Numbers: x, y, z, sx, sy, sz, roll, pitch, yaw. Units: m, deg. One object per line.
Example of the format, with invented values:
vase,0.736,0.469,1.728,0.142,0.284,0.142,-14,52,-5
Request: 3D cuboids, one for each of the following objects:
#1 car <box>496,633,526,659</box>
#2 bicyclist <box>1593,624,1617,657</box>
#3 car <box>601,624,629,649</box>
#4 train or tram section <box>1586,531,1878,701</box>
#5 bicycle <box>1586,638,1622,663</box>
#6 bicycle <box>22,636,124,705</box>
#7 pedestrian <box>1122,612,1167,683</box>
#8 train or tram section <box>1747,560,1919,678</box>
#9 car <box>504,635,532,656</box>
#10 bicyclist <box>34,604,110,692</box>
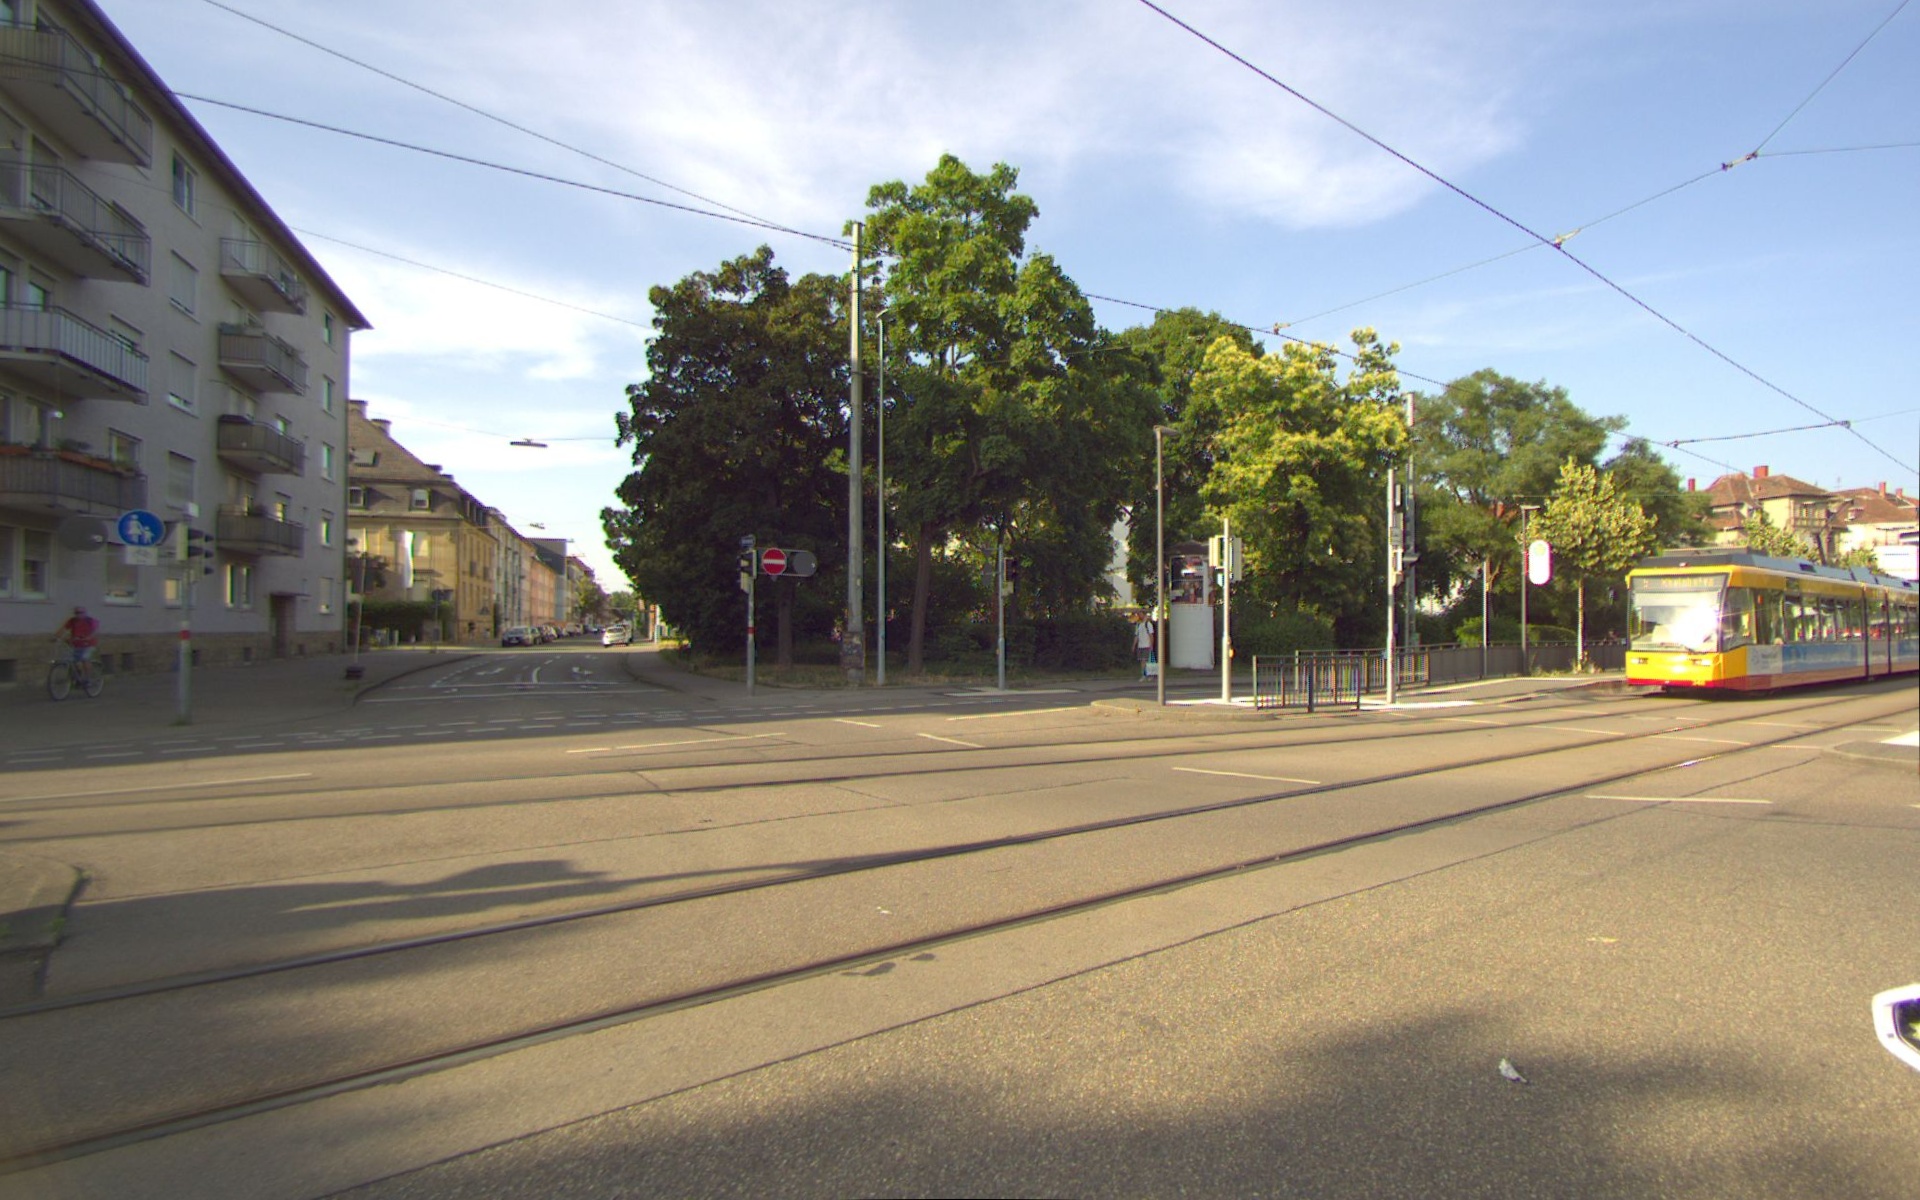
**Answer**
car,-32.955,3.324,73.681,1.973,1.748,3.975,1,-1,-25
bicyclist,27.967,1.754,43.570,0.710,1.432,0.646,1,0,-36
car,-25.922,2.724,75.547,1.969,1.748,3.984,1,-1,-18
train or tram section,21.020,0.448,26.694,14.413,3.526,3.135,1,-1,-40
bicycle,28.013,2.195,43.686,2.228,1.032,0.538,1,0,-36
bicycle,-17.419,1.351,19.779,0.723,1.219,1.973,1,0,-17
pedestrian,5.122,1.299,27.922,0.990,1.935,0.705,1,0,39
train or tram section,31.838,0.692,35.764,14.352,3.526,3.135,1,-1,-40
car,-34.646,3.548,78.699,1.973,1.439,3.975,1,-1,-25
bicyclist,-17.333,0.923,19.625,0.801,1.664,0.850,1,0,-18
